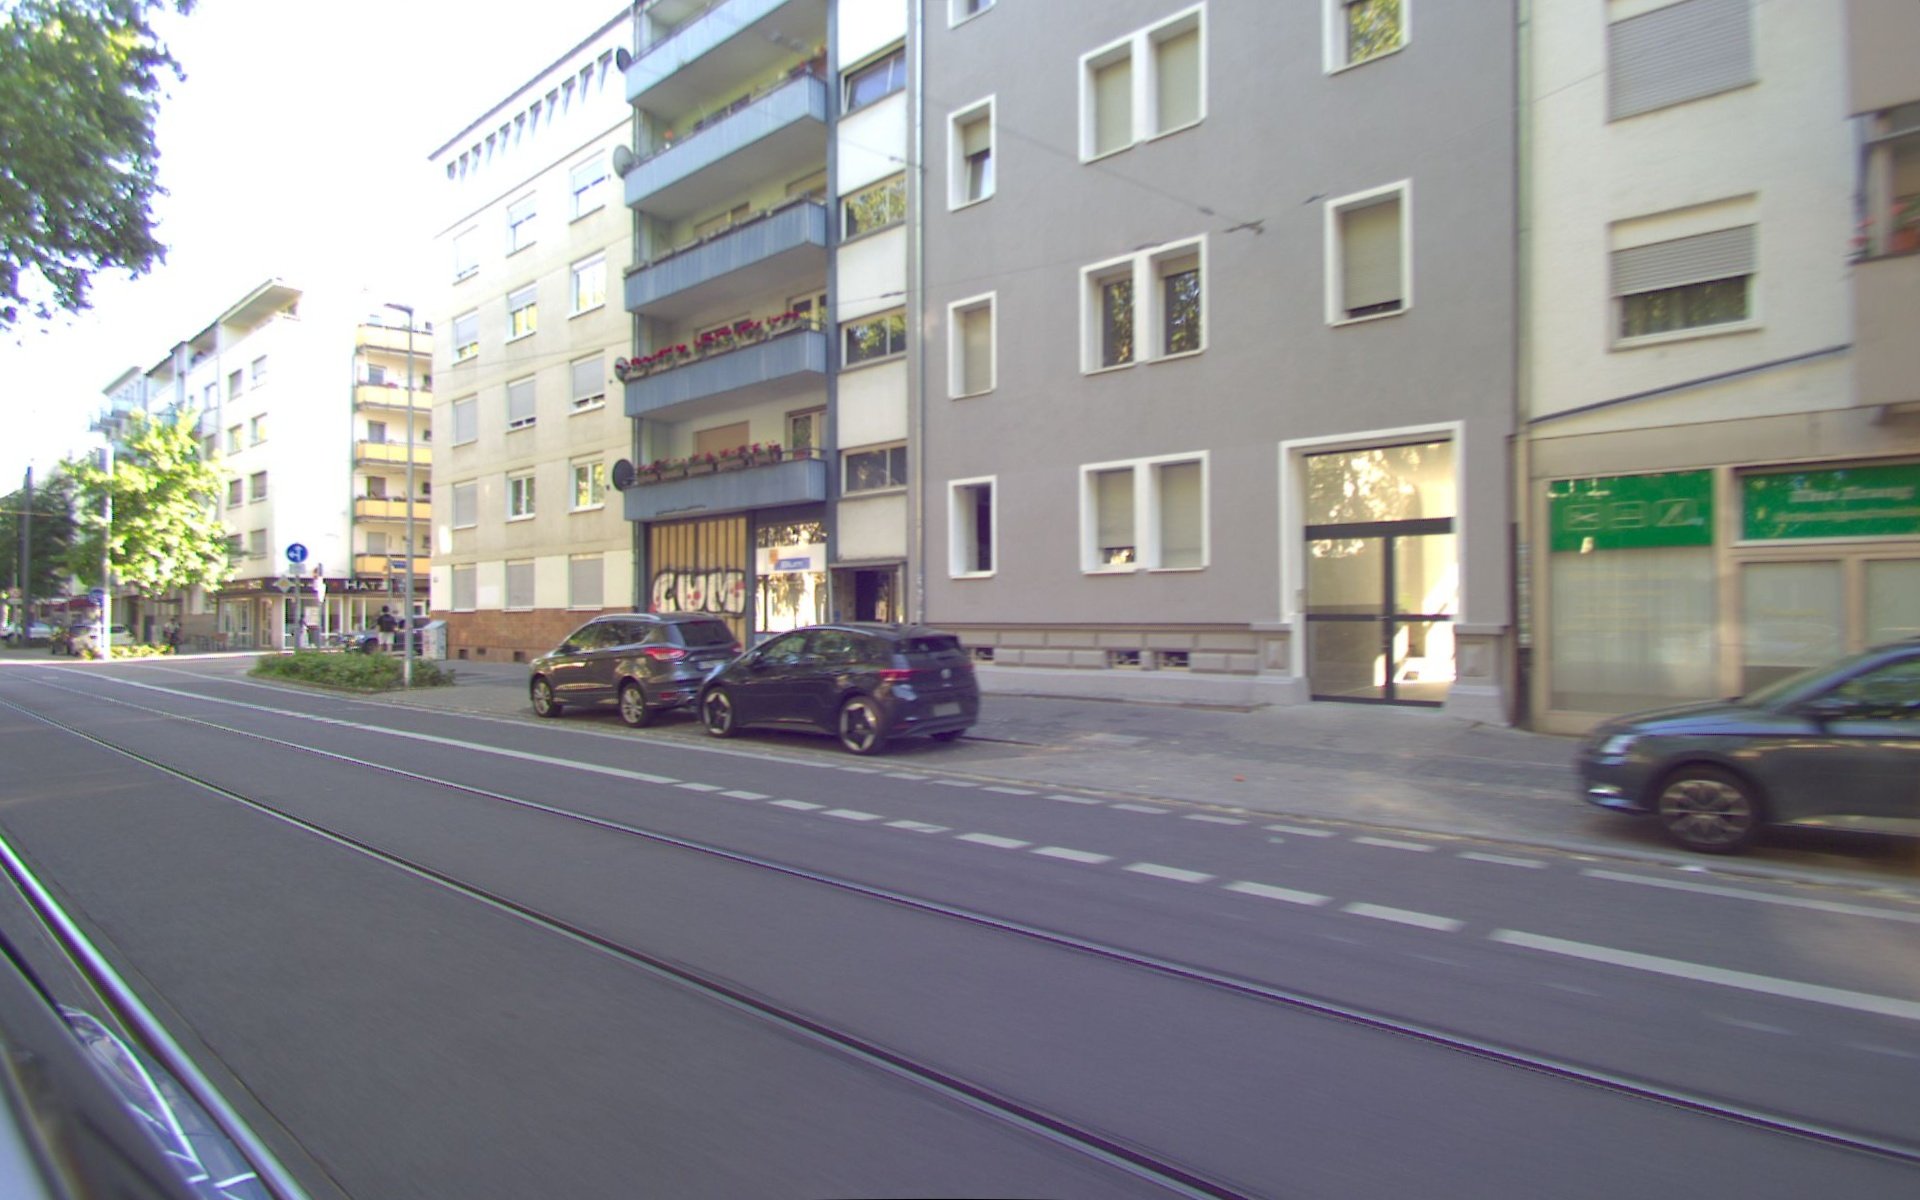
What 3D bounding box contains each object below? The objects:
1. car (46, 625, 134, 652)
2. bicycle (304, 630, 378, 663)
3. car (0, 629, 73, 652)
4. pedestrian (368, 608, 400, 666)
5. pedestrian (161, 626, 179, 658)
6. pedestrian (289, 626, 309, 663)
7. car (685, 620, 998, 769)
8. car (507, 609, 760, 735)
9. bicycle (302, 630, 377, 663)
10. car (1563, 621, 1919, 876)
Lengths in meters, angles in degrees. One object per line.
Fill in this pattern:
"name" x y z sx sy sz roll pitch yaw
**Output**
"car" -51.914 2.282 60.428 1.587 1.535 3.899 -2 -2 44
"bicycle" -27.416 2.050 44.878 2.762 1.323 0.540 -1 0 -30
"car" -62.880 2.739 68.683 1.587 1.535 3.899 -2 -2 44
"pedestrian" -19.329 1.229 33.973 0.762 1.913 0.800 -1 0 -41
"pedestrian" -39.113 2.069 50.105 0.655 1.516 0.588 -1 0 41
"pedestrian" -27.732 1.860 42.457 0.587 1.516 0.656 -1 0 -41
"car" -1.667 1.099 13.270 4.199 1.612 1.639 -1 0 40
"car" -5.420 1.072 16.535 4.485 1.752 1.762 -1 0 39
"bicycle" -27.125 2.012 44.289 2.762 1.323 0.540 -1 0 -30
"car" 6.462 0.887 6.485 4.237 1.502 1.775 -1 -2 40
